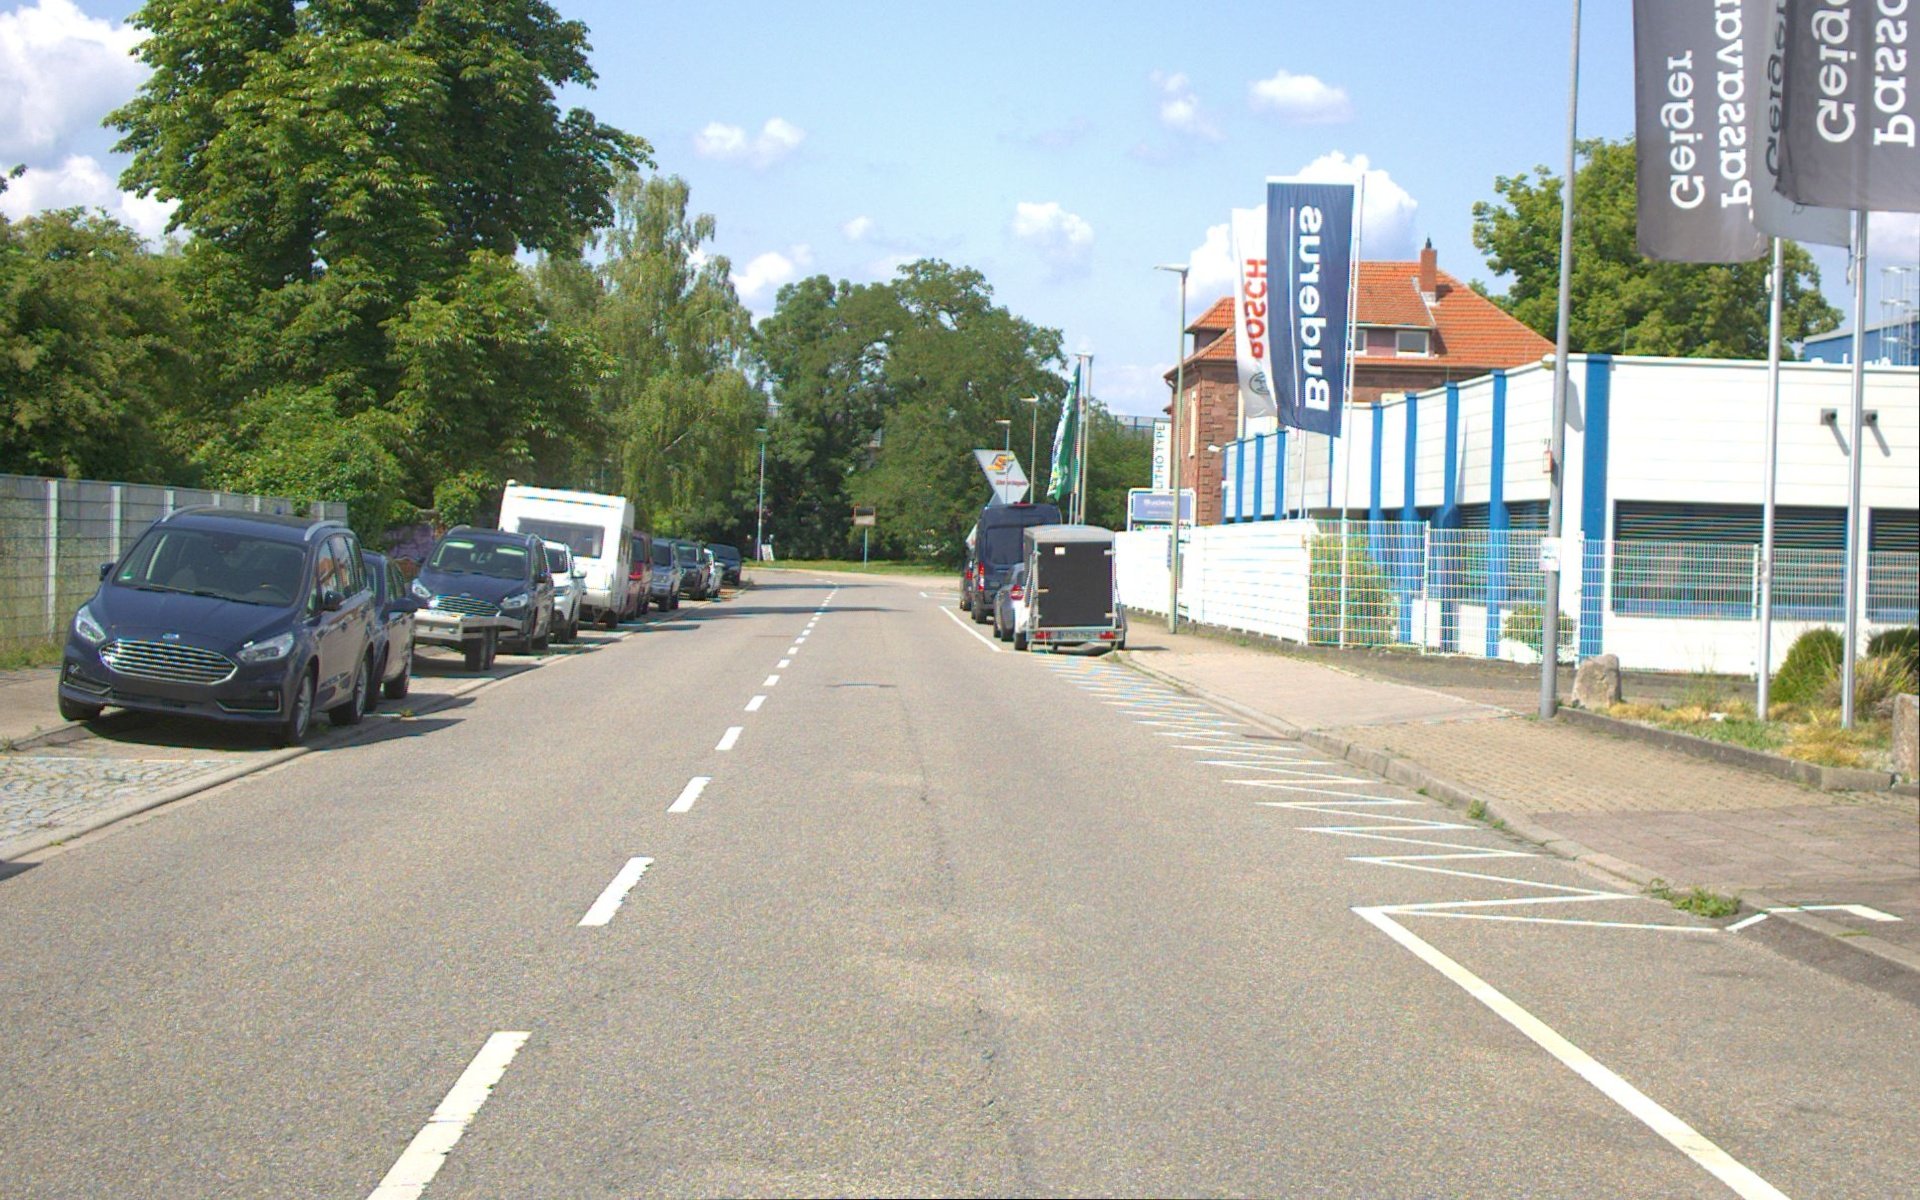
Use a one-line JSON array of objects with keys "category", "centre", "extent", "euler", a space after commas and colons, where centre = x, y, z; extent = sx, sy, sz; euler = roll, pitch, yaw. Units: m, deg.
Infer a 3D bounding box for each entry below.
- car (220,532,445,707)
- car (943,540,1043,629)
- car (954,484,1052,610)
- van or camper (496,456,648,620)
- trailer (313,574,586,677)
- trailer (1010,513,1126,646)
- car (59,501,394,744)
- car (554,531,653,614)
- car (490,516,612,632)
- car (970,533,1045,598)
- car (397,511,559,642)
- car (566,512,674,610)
[{"category": "car", "centre": [-5.981, 0.142, 33.160], "extent": [1.577, 1.507, 4.202], "euler": [3, 1, -4]}, {"category": "car", "centre": [0.563, -0.309, 61.964], "extent": [1.572, 1.502, 4.133], "euler": [2, 1, -2]}, {"category": "car", "centre": [0.946, -1.264, 79.320], "extent": [1.937, 2.739, 6.155], "euler": [-1, 2, -2]}, {"category": "van or camper", "centre": [-7.428, -1.195, 66.495], "extent": [2.262, 2.794, 6.835], "euler": [6, 1, -3]}, {"category": "trailer", "centre": [-6.182, 0.261, 42.602], "extent": [2.271, 0.880, 7.132], "euler": [6, 1, 0]}, {"category": "trailer", "centre": [1.728, -0.352, 55.748], "extent": [1.601, 2.030, 2.741], "euler": [3, 1, -2]}, {"category": "car", "centre": [-5.814, 0.121, 27.791], "extent": [1.801, 1.744, 4.713], "euler": [2, 1, -2]}, {"category": "car", "centre": [-7.507, -0.599, 72.705], "extent": [1.625, 1.527, 4.269], "euler": [6, 1, -2]}, {"category": "car", "centre": [-6.744, -0.459, 57.041], "extent": [1.683, 1.686, 4.446], "euler": [6, 1, -5]}, {"category": "car", "centre": [1.248, -0.935, 91.685], "extent": [1.825, 1.659, 4.556], "euler": [1, 1, -1]}, {"category": "car", "centre": [-7.044, -0.375, 50.602], "extent": [1.827, 1.787, 4.736], "euler": [2, 1, -2]}, {"category": "car", "centre": [-7.770, -0.890, 78.869], "extent": [1.898, 1.948, 4.958], "euler": [7, 0, -2]}]
